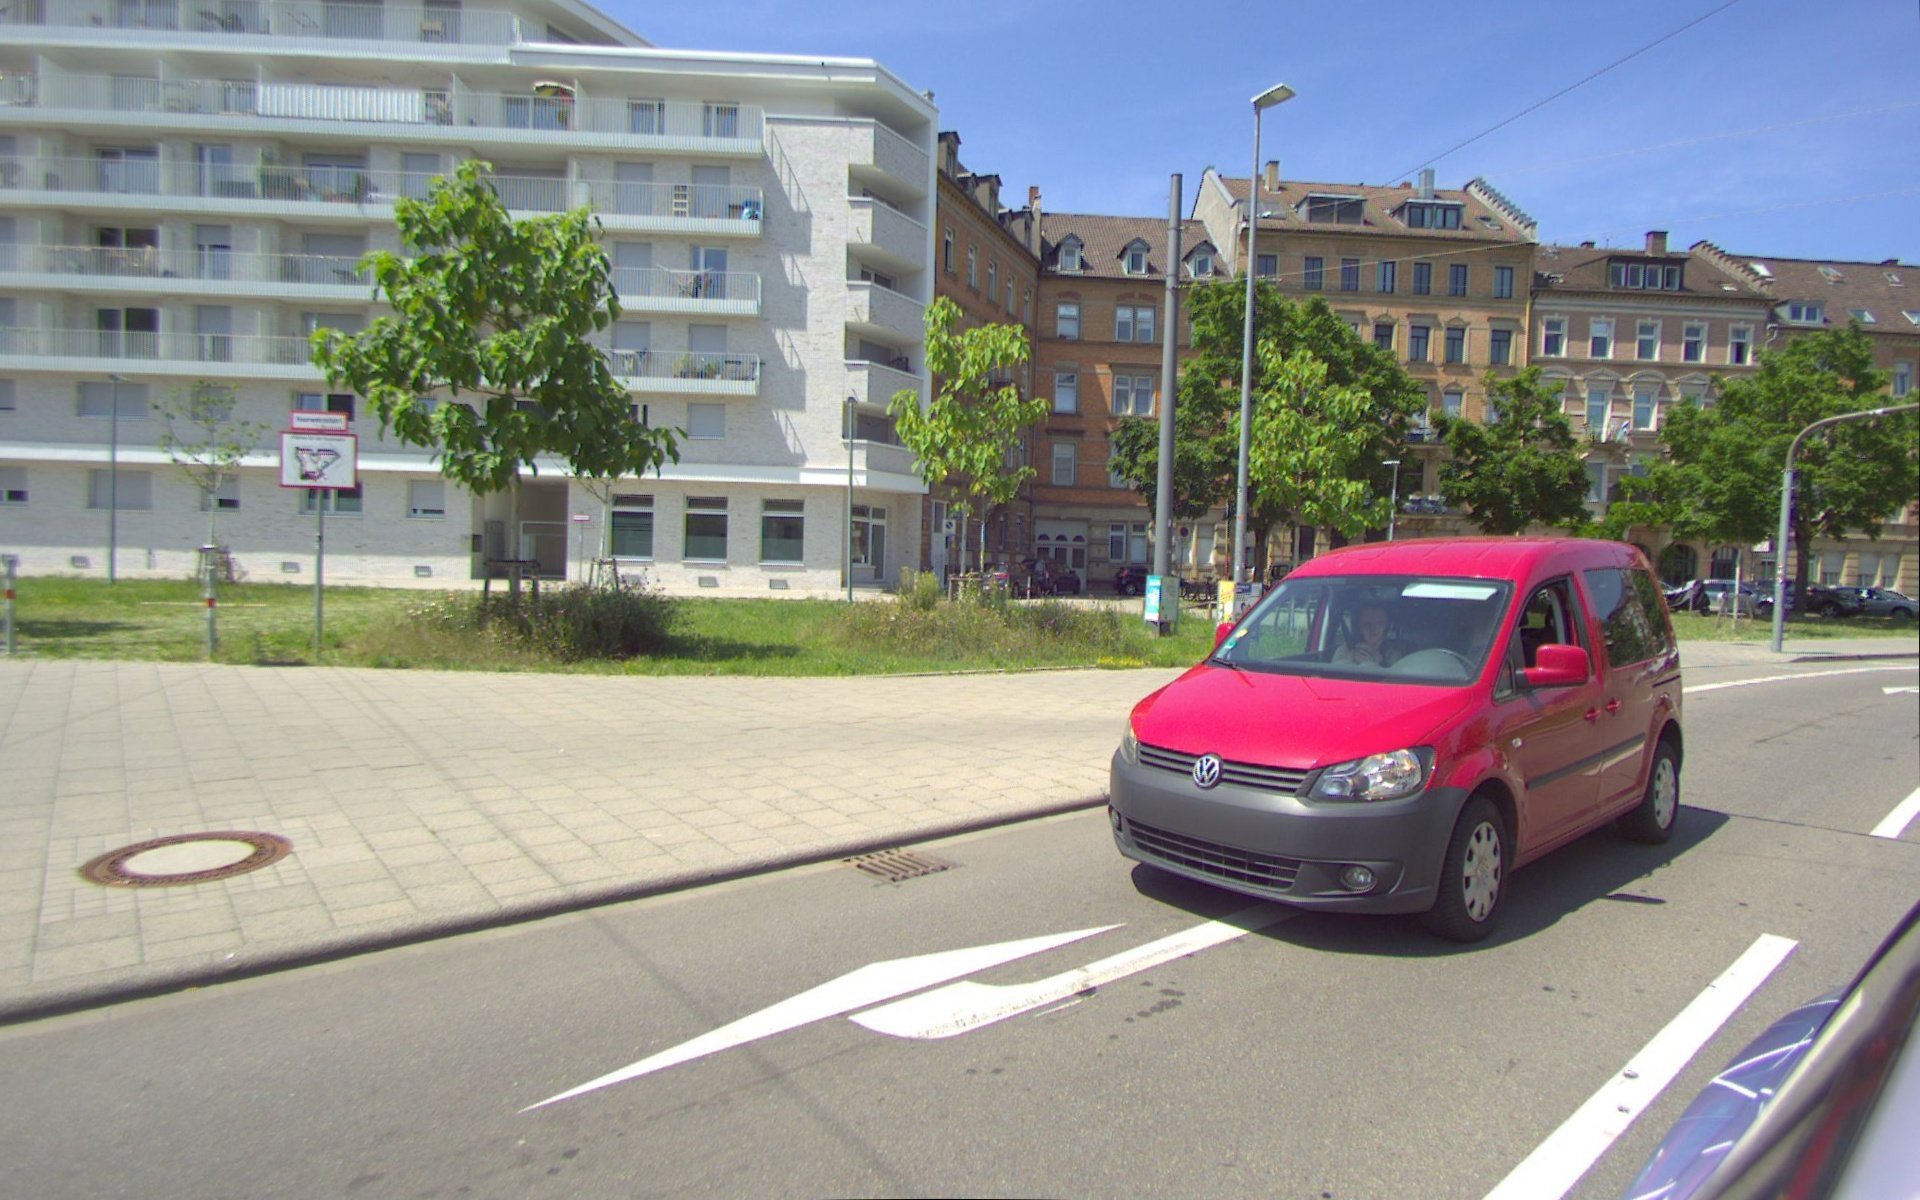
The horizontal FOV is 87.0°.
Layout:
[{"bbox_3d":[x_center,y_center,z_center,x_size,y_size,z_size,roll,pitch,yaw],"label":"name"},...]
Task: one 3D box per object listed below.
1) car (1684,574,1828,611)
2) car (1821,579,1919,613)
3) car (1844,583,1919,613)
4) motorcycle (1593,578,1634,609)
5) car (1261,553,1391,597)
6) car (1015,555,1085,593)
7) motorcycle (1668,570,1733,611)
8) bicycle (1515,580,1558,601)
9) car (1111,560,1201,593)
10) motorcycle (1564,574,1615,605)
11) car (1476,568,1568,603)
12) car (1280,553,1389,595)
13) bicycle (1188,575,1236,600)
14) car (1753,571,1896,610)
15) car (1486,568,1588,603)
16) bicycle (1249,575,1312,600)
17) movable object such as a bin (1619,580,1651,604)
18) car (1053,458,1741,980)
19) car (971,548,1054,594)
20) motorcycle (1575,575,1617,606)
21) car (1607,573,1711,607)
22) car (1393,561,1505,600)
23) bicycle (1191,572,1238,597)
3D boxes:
[{"bbox_3d":[32.324,-0.330,41.256,1.550,1.393,4.355,1,1,-28],"label":"car"},{"bbox_3d":[38.162,-0.162,41.412,1.931,1.330,4.008,1,1,-24],"label":"car"},{"bbox_3d":[46.440,-0.093,50.187,3.643,1.438,1.786,1,1,-3],"label":"car"},{"bbox_3d":[24.782,-0.240,38.407,0.468,1.134,1.526,1,1,-3],"label":"motorcycle"},{"bbox_3d":[14.517,-0.996,40.407,1.799,1.621,4.881,1,1,-29],"label":"car"},{"bbox_3d":[4.065,-1.136,45.143,1.760,1.548,4.044,2,1,27],"label":"car"},{"bbox_3d":[27.452,-0.371,37.537,1.821,1.430,0.678,2,2,0],"label":"motorcycle"},{"bbox_3d":[22.868,-0.371,40.153,1.445,0.815,0.493,2,1,33],"label":"bicycle"},{"bbox_3d":[9.443,-1.116,48.893,3.921,1.438,1.779,1,1,-3],"label":"car"},{"bbox_3d":[23.789,-0.398,38.268,0.517,1.134,1.831,1,1,-9],"label":"motorcycle"},{"bbox_3d":[23.936,-0.621,43.273,1.923,1.393,3.994,2,1,6],"label":"car"},{"bbox_3d":[18.260,-1.265,49.457,4.564,1.927,1.927,2,1,-1],"label":"car"},{"bbox_3d":[9.989,-0.524,40.240,0.498,0.947,2.052,1,1,-32],"label":"bicycle"},{"bbox_3d":[35.527,-0.412,41.704,1.762,1.488,4.098,1,1,-29],"label":"car"},{"bbox_3d":[28.474,-0.720,50.028,3.924,1.549,1.842,2,1,0],"label":"car"},{"bbox_3d":[12.675,-0.504,40.133,0.500,0.947,2.421,1,1,-45],"label":"bicycle"},{"bbox_3d":[26.668,-0.318,39.995,0.690,0.948,0.986,2,1,9],"label":"movable object such as a bin"},{"bbox_3d":[2.955,0.420,6.021,5.079,1.857,1.857,1,1,-43],"label":"car"},{"bbox_3d":[2.102,-1.094,39.195,1.679,1.645,4.091,2,1,27],"label":"car"},{"bbox_3d":[26.596,-0.392,42.368,0.800,1.251,2.077,2,1,13],"label":"motorcycle"},{"bbox_3d":[34.706,-0.506,50.287,3.921,1.549,1.844,1,1,-4],"label":"car"},{"bbox_3d":[19.841,-0.806,41.216,1.575,1.450,3.873,1,1,-31],"label":"car"},{"bbox_3d":[10.319,-0.642,41.048,0.498,0.947,2.052,1,1,-32],"label":"bicycle"}]
